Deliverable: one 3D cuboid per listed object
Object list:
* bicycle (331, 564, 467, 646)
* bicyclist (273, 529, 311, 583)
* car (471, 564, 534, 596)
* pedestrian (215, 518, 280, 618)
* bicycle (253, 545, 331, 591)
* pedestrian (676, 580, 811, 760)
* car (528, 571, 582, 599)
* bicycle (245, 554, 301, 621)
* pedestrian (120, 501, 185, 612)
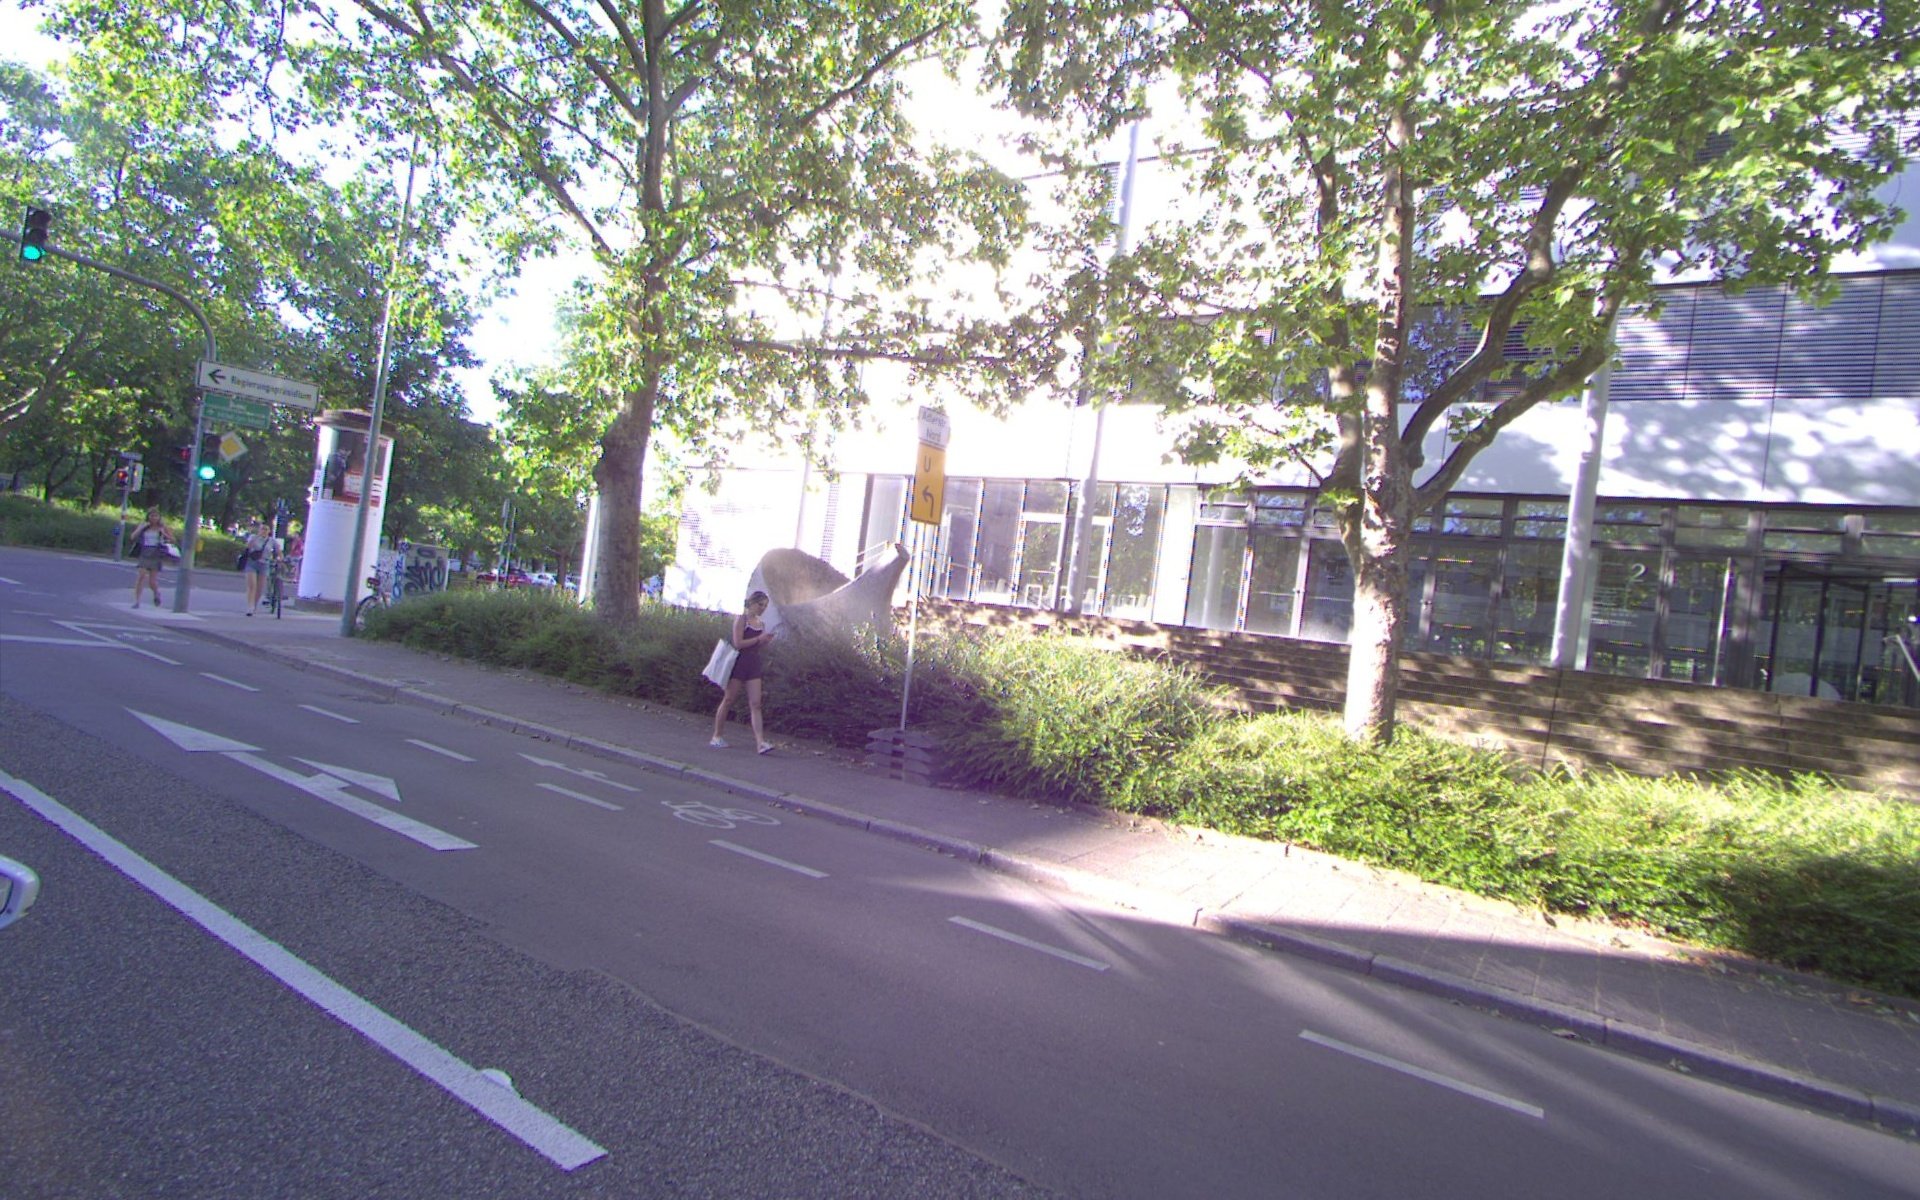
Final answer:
[{"bbox_3d":[-9.846,0.123,17.746,0.519,1.203,1.980,7,-2,31],"label":"bicycle"},{"bbox_3d":[-22.870,-1.511,34.446,0.664,1.717,0.711,7,-2,33],"label":"bicyclist"},{"bbox_3d":[-28.668,-1.279,63.034,3.733,1.499,1.633,6,-2,32],"label":"car"},{"bbox_3d":[-13.124,-0.598,18.534,0.681,1.717,0.959,9,-2,-43],"label":"pedestrian"},{"bbox_3d":[-22.885,-1.081,34.505,0.589,1.234,2.035,7,-2,32],"label":"bicycle"},{"bbox_3d":[-2.187,0.684,10.161,0.893,1.651,0.798,7,1,34],"label":"pedestrian"},{"bbox_3d":[-29.112,-1.096,72.235,3.733,1.484,1.575,6,-2,32],"label":"car"},{"bbox_3d":[-12.920,-0.246,18.893,0.523,1.112,1.721,9,-2,-42],"label":"bicycle"},{"bbox_3d":[-14.198,-0.751,17.694,0.729,1.830,0.899,6,-1,-40],"label":"pedestrian"}]
